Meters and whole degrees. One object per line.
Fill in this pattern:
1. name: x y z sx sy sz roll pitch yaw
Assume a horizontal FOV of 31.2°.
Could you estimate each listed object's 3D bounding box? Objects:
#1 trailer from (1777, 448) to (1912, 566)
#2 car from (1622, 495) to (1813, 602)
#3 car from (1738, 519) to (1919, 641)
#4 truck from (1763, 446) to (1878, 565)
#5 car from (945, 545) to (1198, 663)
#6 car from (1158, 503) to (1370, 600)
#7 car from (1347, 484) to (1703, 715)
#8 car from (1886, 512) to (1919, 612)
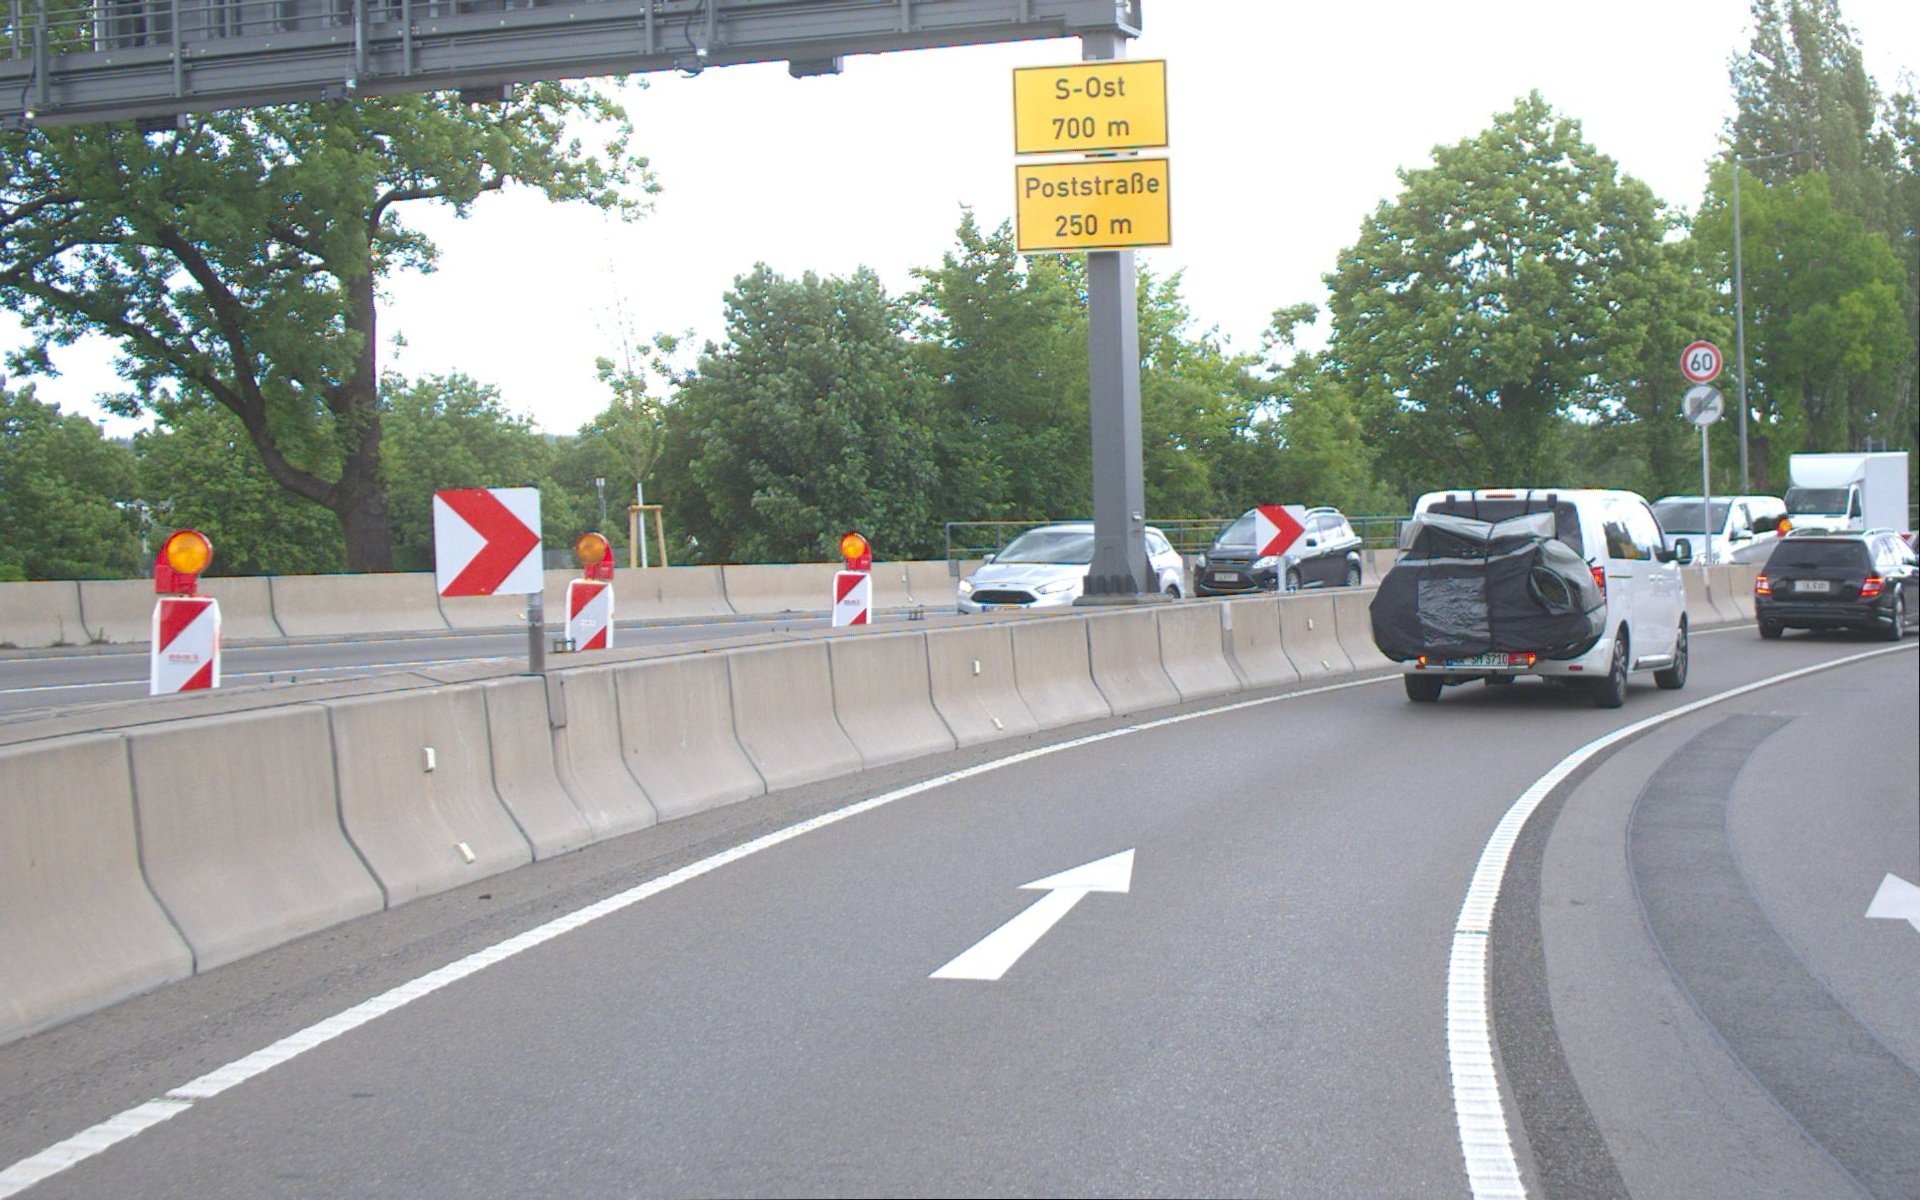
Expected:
1. trailer: 24.258 -2.540 94.144 2.276 3.127 5.703 1 1 28
2. car: 13.557 -0.933 61.274 1.954 1.800 5.784 1 1 26
3. car: 11.410 -0.288 44.443 1.817 1.429 4.060 -2 1 25
4. truck: 22.991 -2.519 91.797 2.276 3.103 2.983 1 1 29
5. car: 1.530 0.009 45.035 1.796 1.416 4.644 1 1 22
6. car: 5.498 -0.887 61.596 1.997 1.666 4.720 1 2 29
7. car: 5.149 -0.086 30.595 1.995 1.852 5.635 0 2 21
8. car: 15.649 -0.614 52.732 1.923 1.483 4.059 0 1 28
